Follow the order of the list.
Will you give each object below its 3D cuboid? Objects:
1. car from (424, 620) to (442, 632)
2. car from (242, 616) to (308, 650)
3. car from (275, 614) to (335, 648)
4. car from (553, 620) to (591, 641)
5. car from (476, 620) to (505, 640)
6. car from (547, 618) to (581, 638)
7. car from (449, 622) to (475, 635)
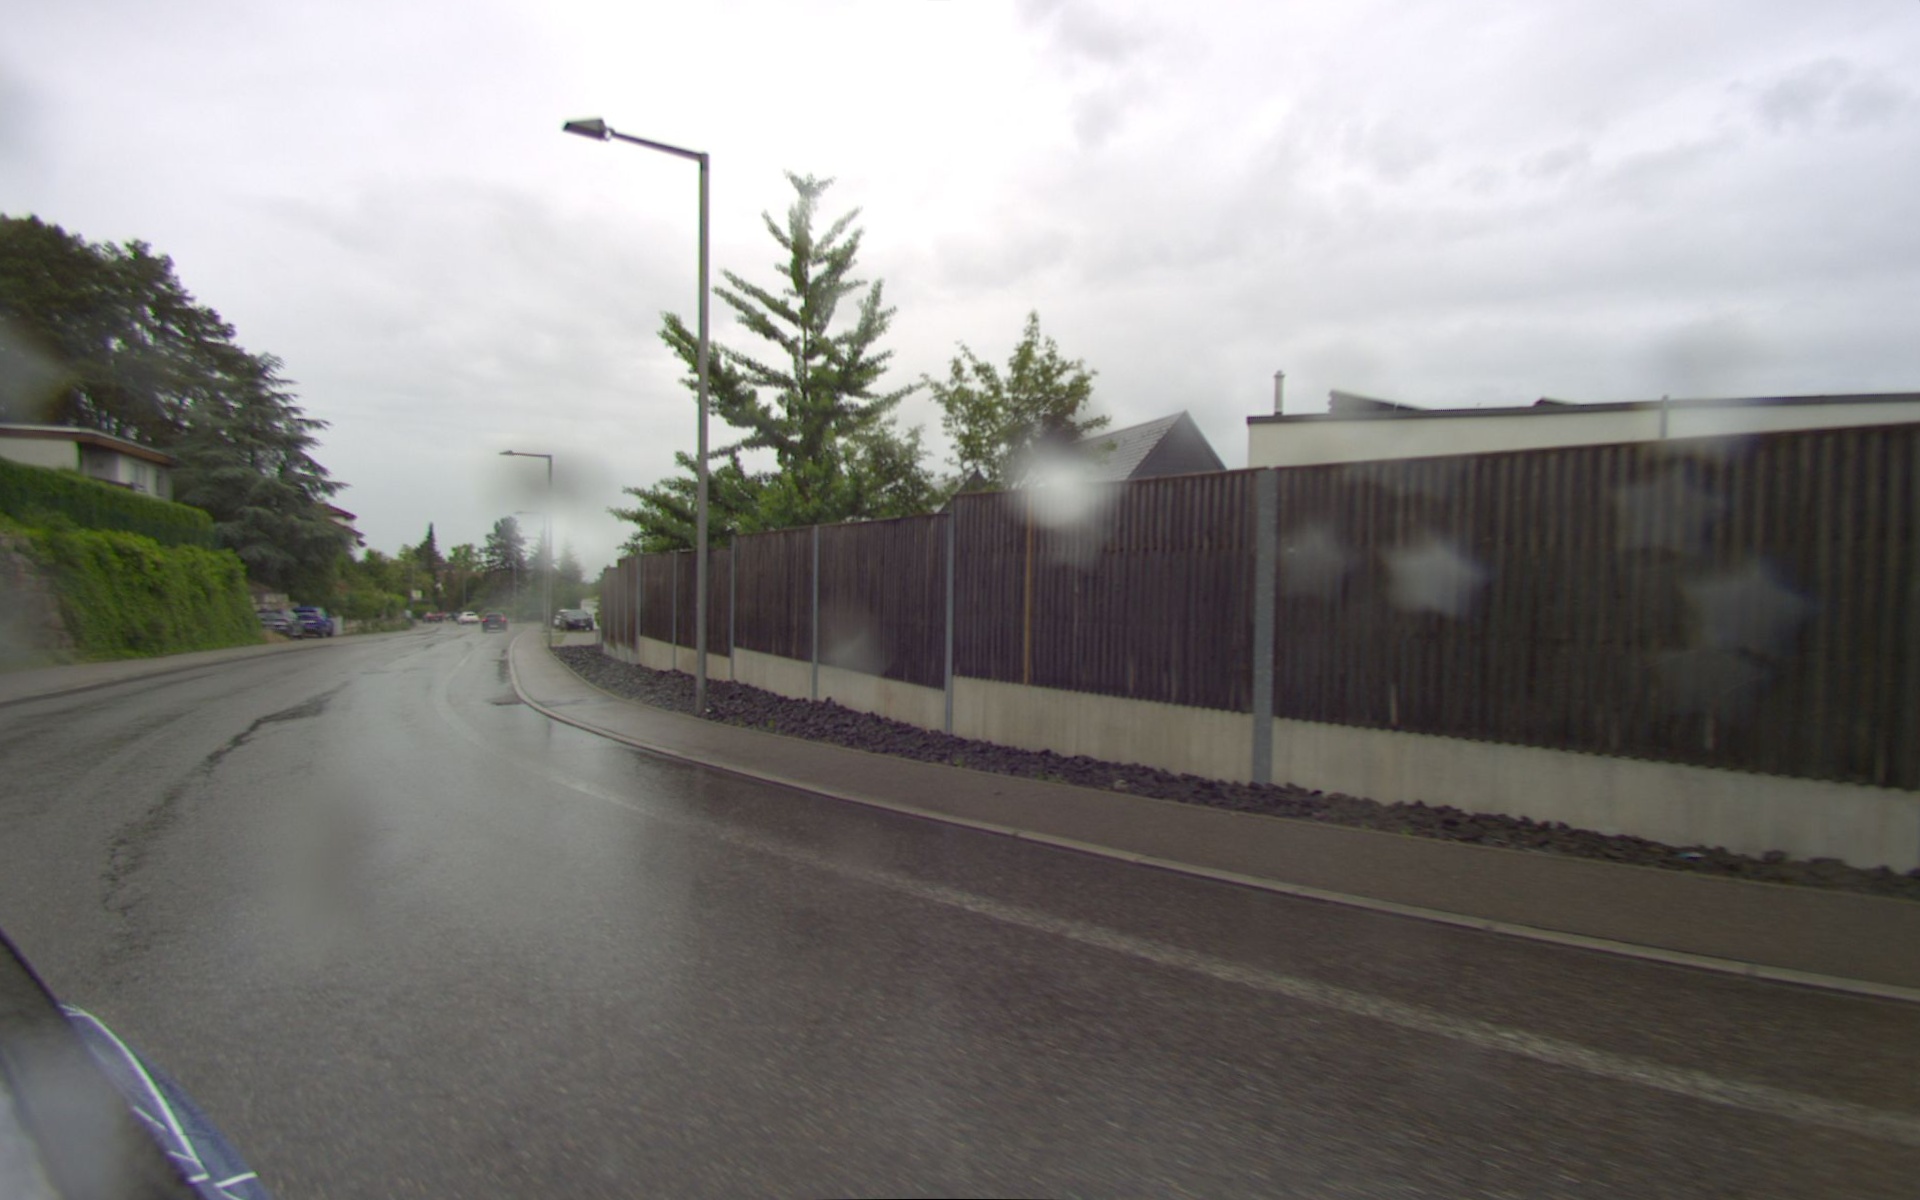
[{"bbox_3d":[-71.532,3.514,137.367,1.825,1.481,3.711,-1,0,-22],"label":"car"},{"bbox_3d":[-33.798,1.605,50.027,1.785,1.575,4.023,3,-2,-22],"label":"car"},{"bbox_3d":[-36.026,1.683,55.788,1.965,1.683,4.559,3,-2,-23],"label":"car"},{"bbox_3d":[-27.391,2.114,71.388,1.808,1.416,4.272,-1,0,-31],"label":"car"},{"bbox_3d":[-35.947,2.242,77.540,1.855,1.460,4.223,0,-1,-23],"label":"car"},{"bbox_3d":[-33.242,2.325,85.012,1.683,1.565,4.397,-1,0,-8],"label":"car"},{"bbox_3d":[-58.941,3.397,119.689,1.824,1.471,4.275,-1,0,-40],"label":"car"}]
